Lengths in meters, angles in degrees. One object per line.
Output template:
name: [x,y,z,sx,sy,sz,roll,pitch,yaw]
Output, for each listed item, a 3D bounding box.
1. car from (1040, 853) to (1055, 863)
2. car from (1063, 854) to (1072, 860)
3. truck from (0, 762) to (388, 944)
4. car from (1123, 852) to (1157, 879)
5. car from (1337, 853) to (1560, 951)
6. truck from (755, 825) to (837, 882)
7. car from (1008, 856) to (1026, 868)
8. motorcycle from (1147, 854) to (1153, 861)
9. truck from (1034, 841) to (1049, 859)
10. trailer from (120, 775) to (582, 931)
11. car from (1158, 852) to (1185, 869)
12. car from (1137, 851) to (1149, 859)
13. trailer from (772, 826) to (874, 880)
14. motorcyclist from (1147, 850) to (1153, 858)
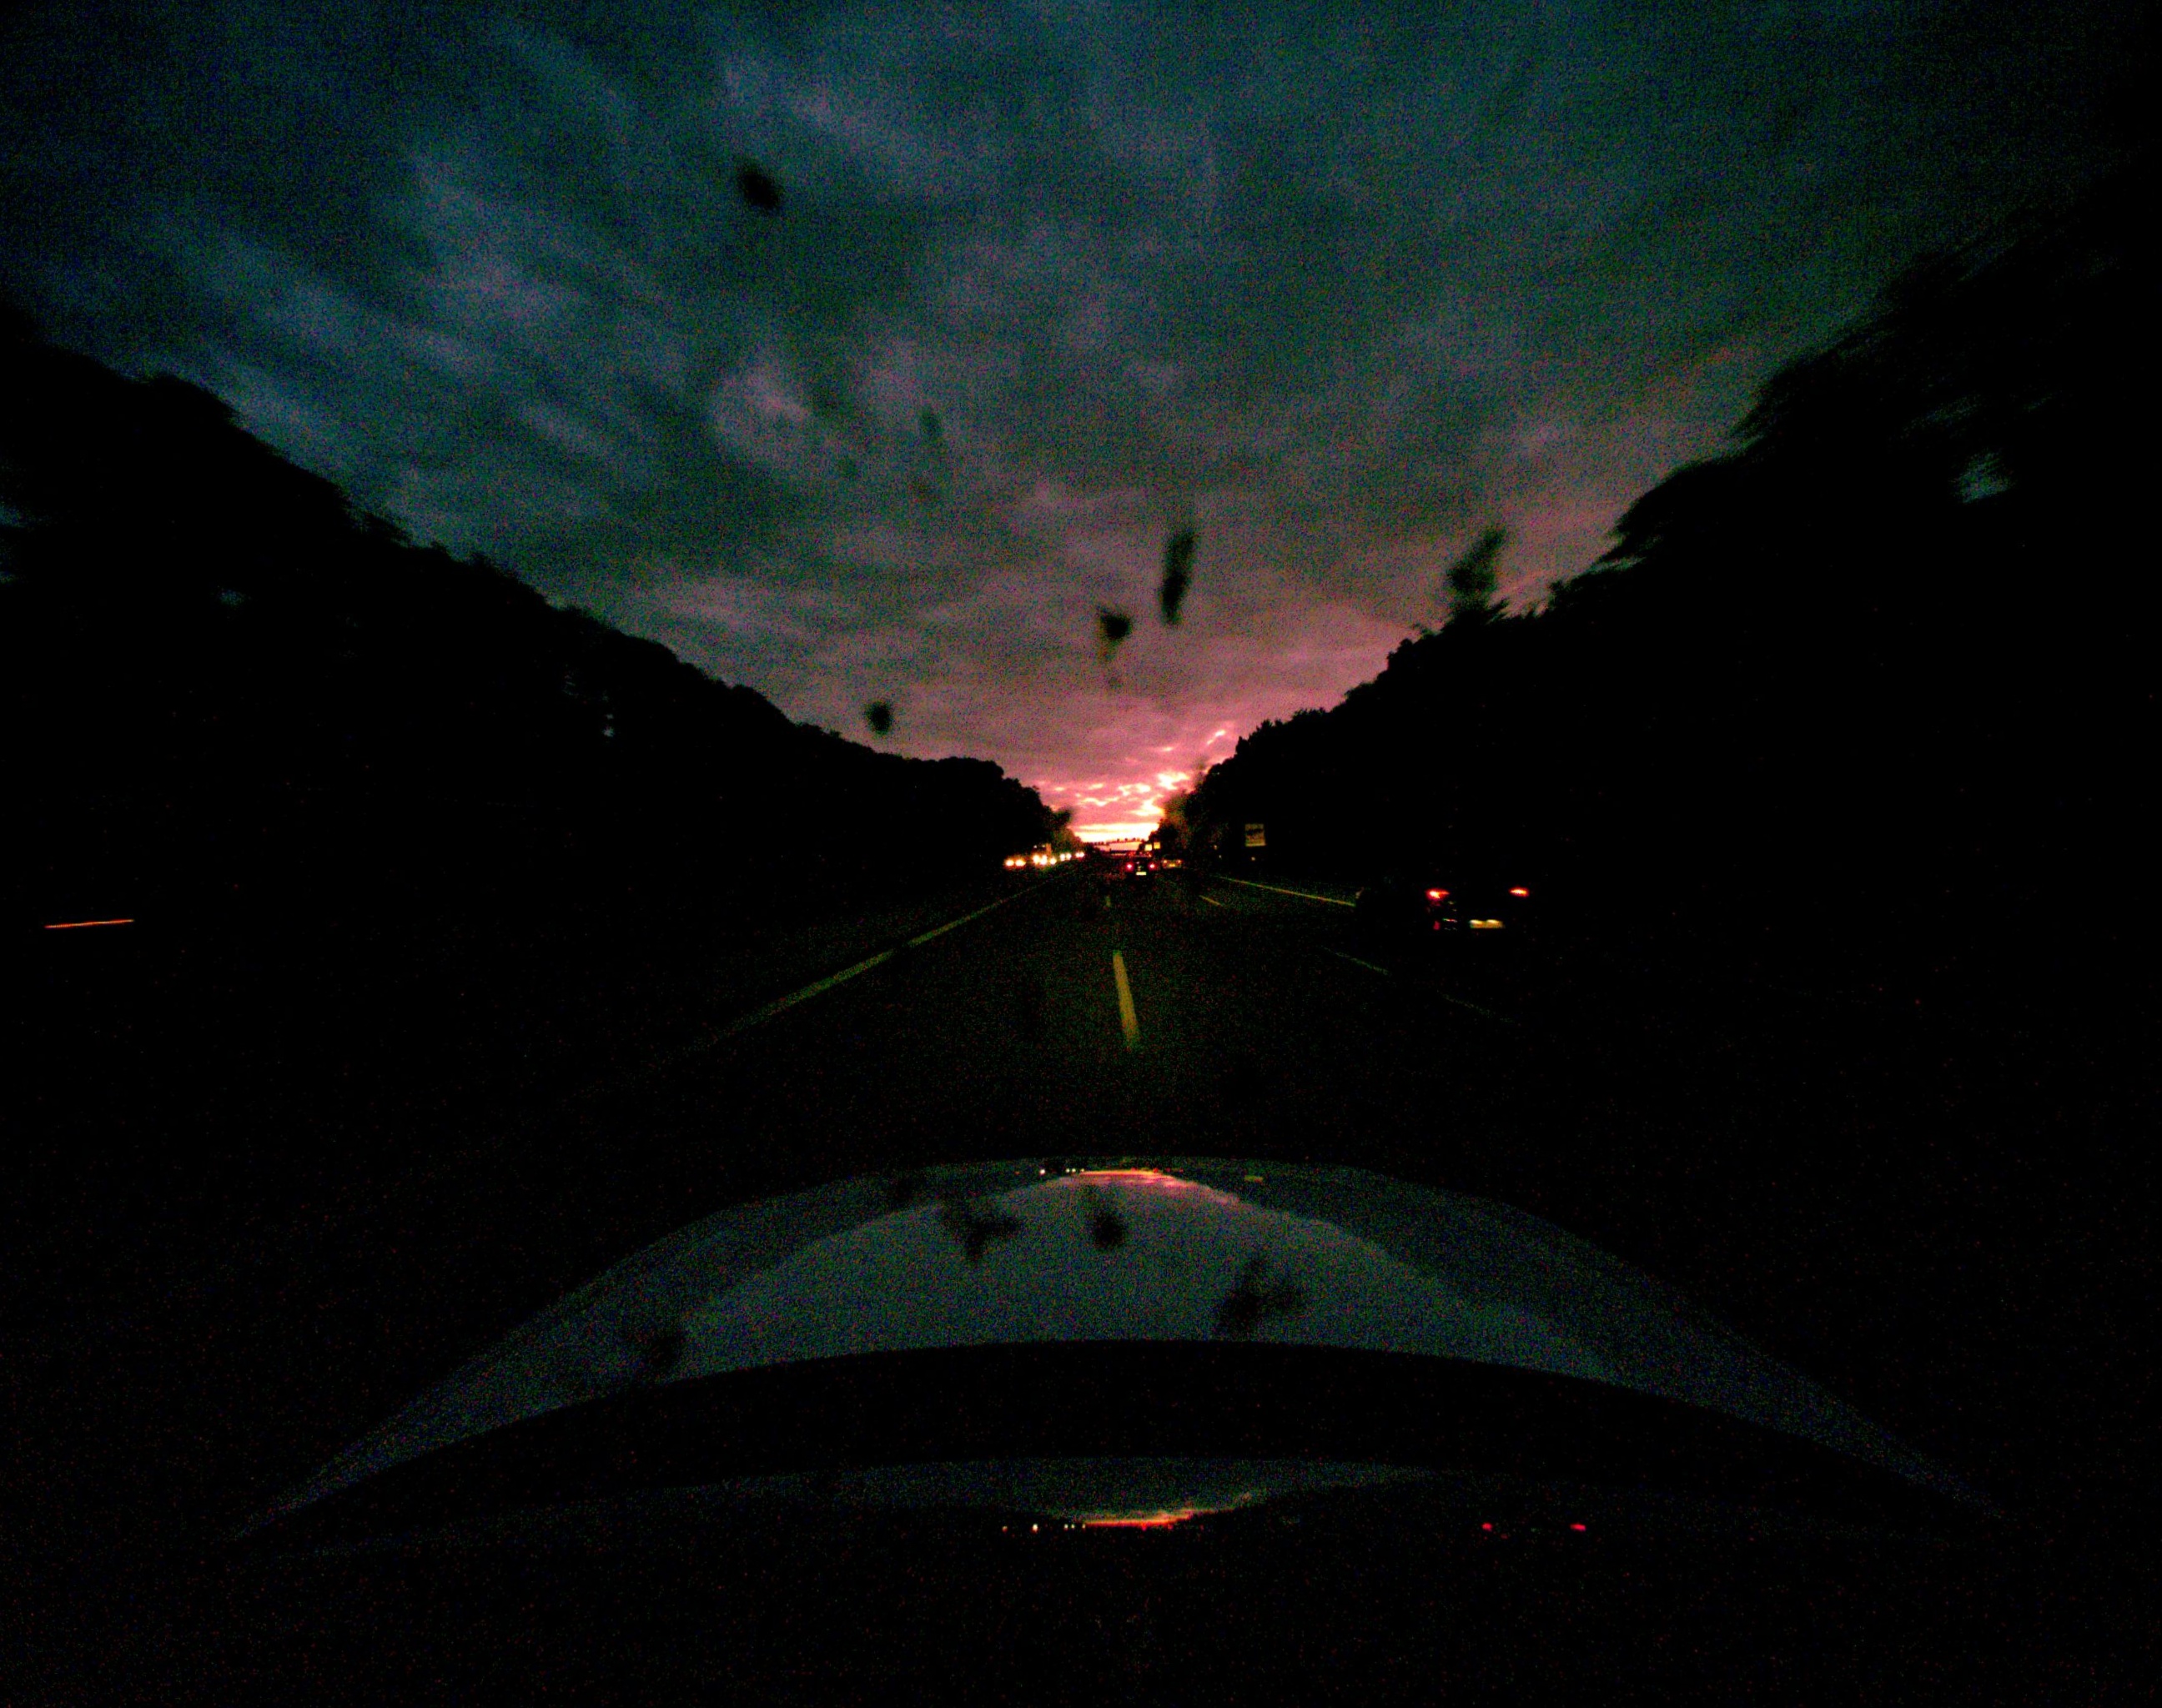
car: [-4.830,0.562,116.860,1.844,1.381,4.645,-1,0,1]
car: [-3.354,0.817,203.182,1.902,1.451,5.359,-2,0,3]
truck: [-24.098,0.024,22.362,3.177,4.105,7.697,-1,0,4]
car: [3.329,0.665,46.649,1.698,1.509,4.232,0,-1,1]
car: [6.167,0.723,14.362,1.859,1.436,4.582,0,0,0]
truck: [-21.880,-0.040,63.088,3.177,4.105,7.697,-1,0,4]
car: [-8.395,1.030,106.989,1.679,1.515,4.417,-1,0,3]
motorcycle: [11.120,0.533,131.278,0.826,1.134,2.477,-2,-1,3]
truck: [-8.871,-0.997,184.890,2.636,3.971,7.128,-2,0,3]
trailer: [-23.702,0.020,28.575,3.177,4.105,13.752,-1,0,3]
car: [7.983,0.588,72.365,1.820,1.476,4.395,0,-1,-2]
car: [12.297,0.296,161.638,1.860,1.494,4.395,0,-1,-2]
trailer: [-21.479,-0.017,69.204,3.177,4.105,14.197,-1,0,4]
motorcyclist: [11.099,-0.016,131.218,0.826,1.291,1.191,-2,-1,2]
